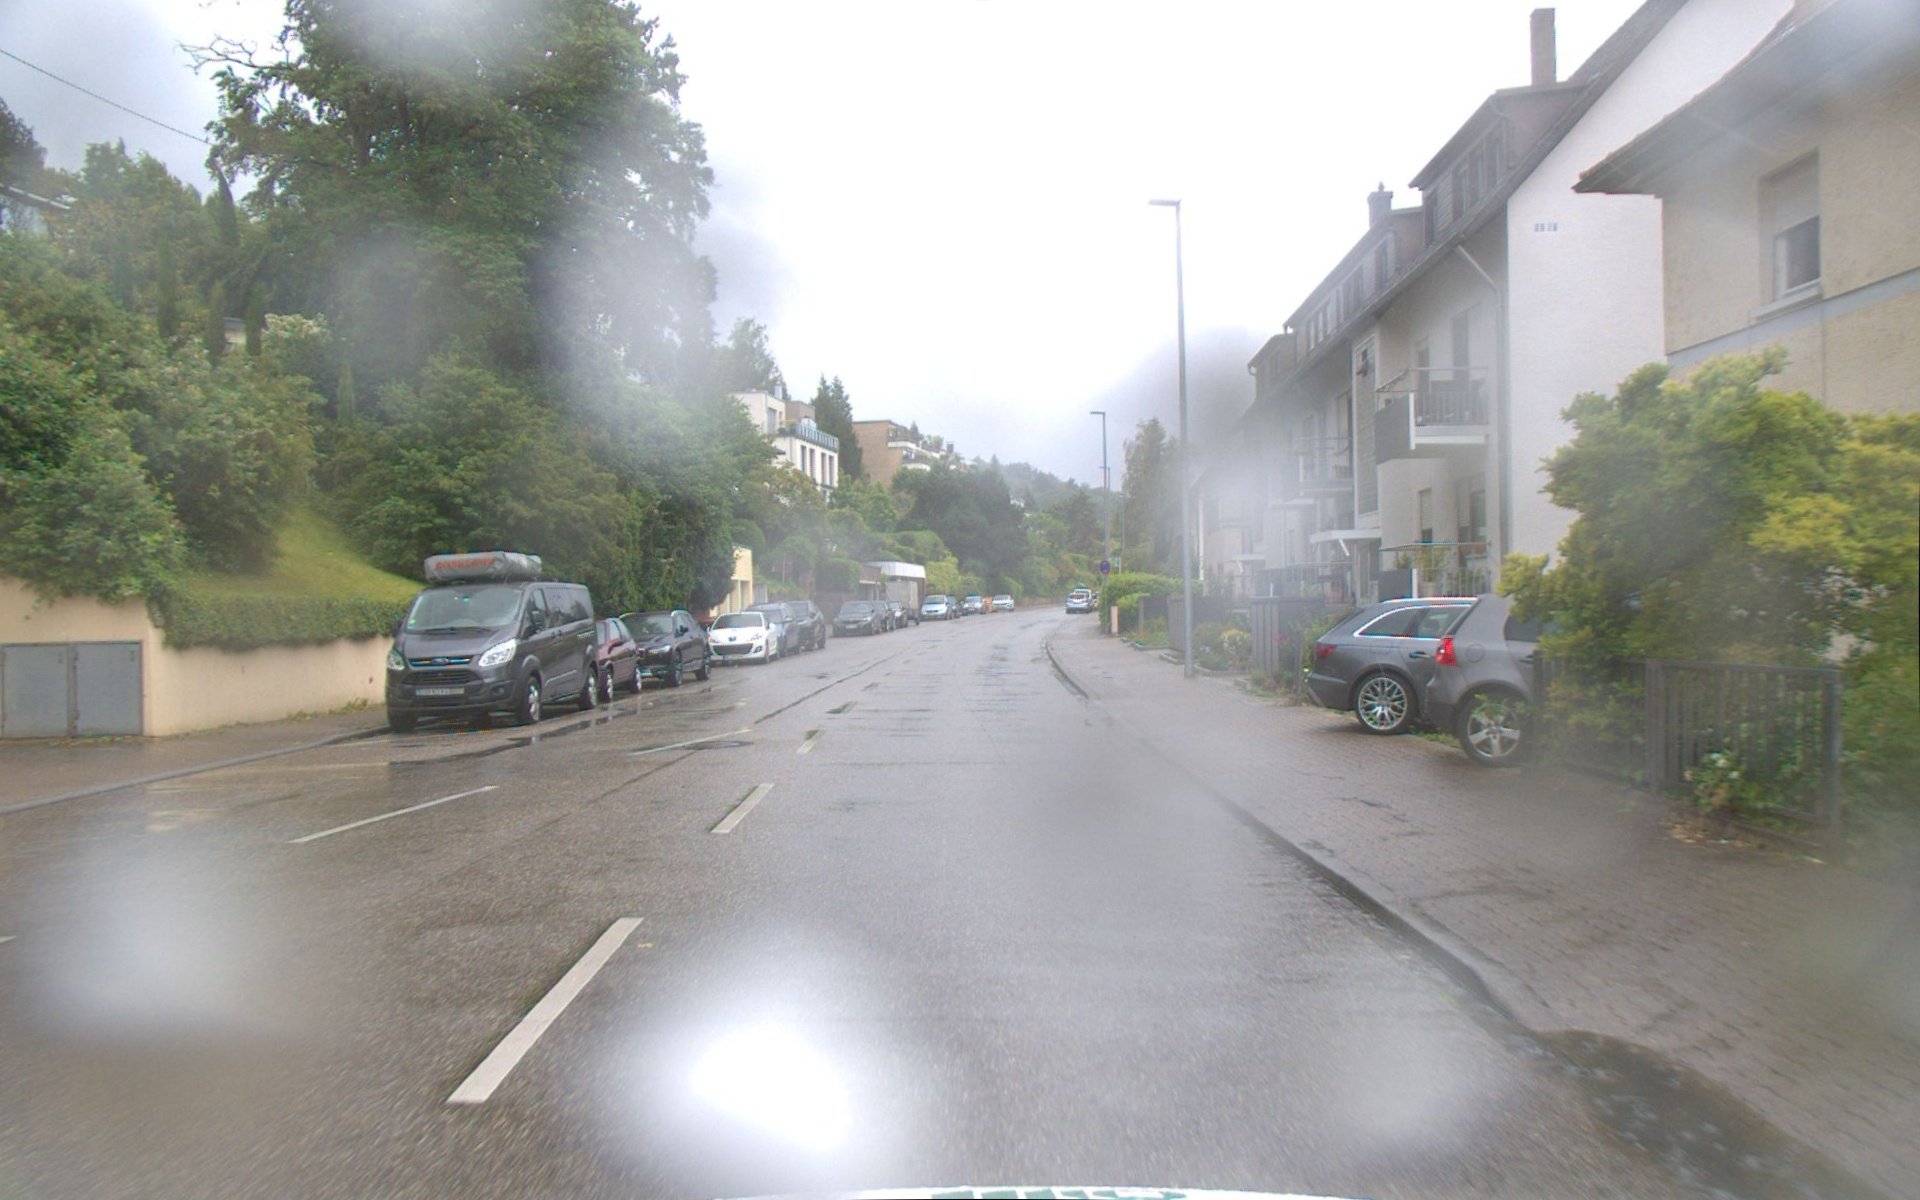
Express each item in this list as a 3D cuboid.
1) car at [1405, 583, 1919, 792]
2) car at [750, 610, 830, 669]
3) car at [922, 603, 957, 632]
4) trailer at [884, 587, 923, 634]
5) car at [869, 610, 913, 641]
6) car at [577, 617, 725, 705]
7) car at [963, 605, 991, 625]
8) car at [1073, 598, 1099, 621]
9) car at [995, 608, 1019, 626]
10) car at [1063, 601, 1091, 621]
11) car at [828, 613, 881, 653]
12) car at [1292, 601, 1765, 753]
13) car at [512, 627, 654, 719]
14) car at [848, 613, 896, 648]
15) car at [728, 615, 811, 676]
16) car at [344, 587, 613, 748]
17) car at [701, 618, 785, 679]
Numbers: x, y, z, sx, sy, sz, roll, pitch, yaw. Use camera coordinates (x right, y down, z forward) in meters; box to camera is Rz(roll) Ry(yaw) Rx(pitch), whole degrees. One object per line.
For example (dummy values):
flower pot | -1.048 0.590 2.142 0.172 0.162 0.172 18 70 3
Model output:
car | 5.914 0.669 13.722 3.917 1.482 1.767 -2 0 34
car | -5.643 1.283 55.512 1.835 1.654 4.595 -5 0 3
car | -1.273 1.102 105.843 1.719 1.565 3.759 -5 0 5
trailer | -3.094 0.539 91.724 1.504 2.441 3.075 -4 0 8
car | -3.567 1.319 86.214 1.770 1.372 3.778 -3 0 4
car | -6.306 1.199 34.281 1.869 1.506 4.757 -5 -1 3
car | 1.345 1.158 128.776 1.719 1.426 3.772 -5 0 6
car | 10.214 0.742 133.698 1.746 1.822 4.365 -2 0 9
car | 4.249 1.491 147.747 1.719 1.524 4.223 -3 0 6
car | 9.112 0.819 128.391 1.751 1.485 4.312 -2 0 9
car | -4.638 1.449 73.471 1.749 1.480 4.757 -4 0 3
car | 5.842 0.761 17.167 4.292 1.388 1.913 -2 -1 34
car | -6.626 1.242 29.410 1.532 1.388 3.907 -4 0 0
car | -4.188 1.456 79.372 1.748 1.439 4.220 -3 0 4
car | -5.770 1.354 50.548 1.705 1.588 4.111 -4 0 4
car | -6.731 0.881 23.856 2.114 1.952 5.324 -3 0 1
car | -5.944 1.298 45.658 1.681 1.389 4.083 -4 1 0
